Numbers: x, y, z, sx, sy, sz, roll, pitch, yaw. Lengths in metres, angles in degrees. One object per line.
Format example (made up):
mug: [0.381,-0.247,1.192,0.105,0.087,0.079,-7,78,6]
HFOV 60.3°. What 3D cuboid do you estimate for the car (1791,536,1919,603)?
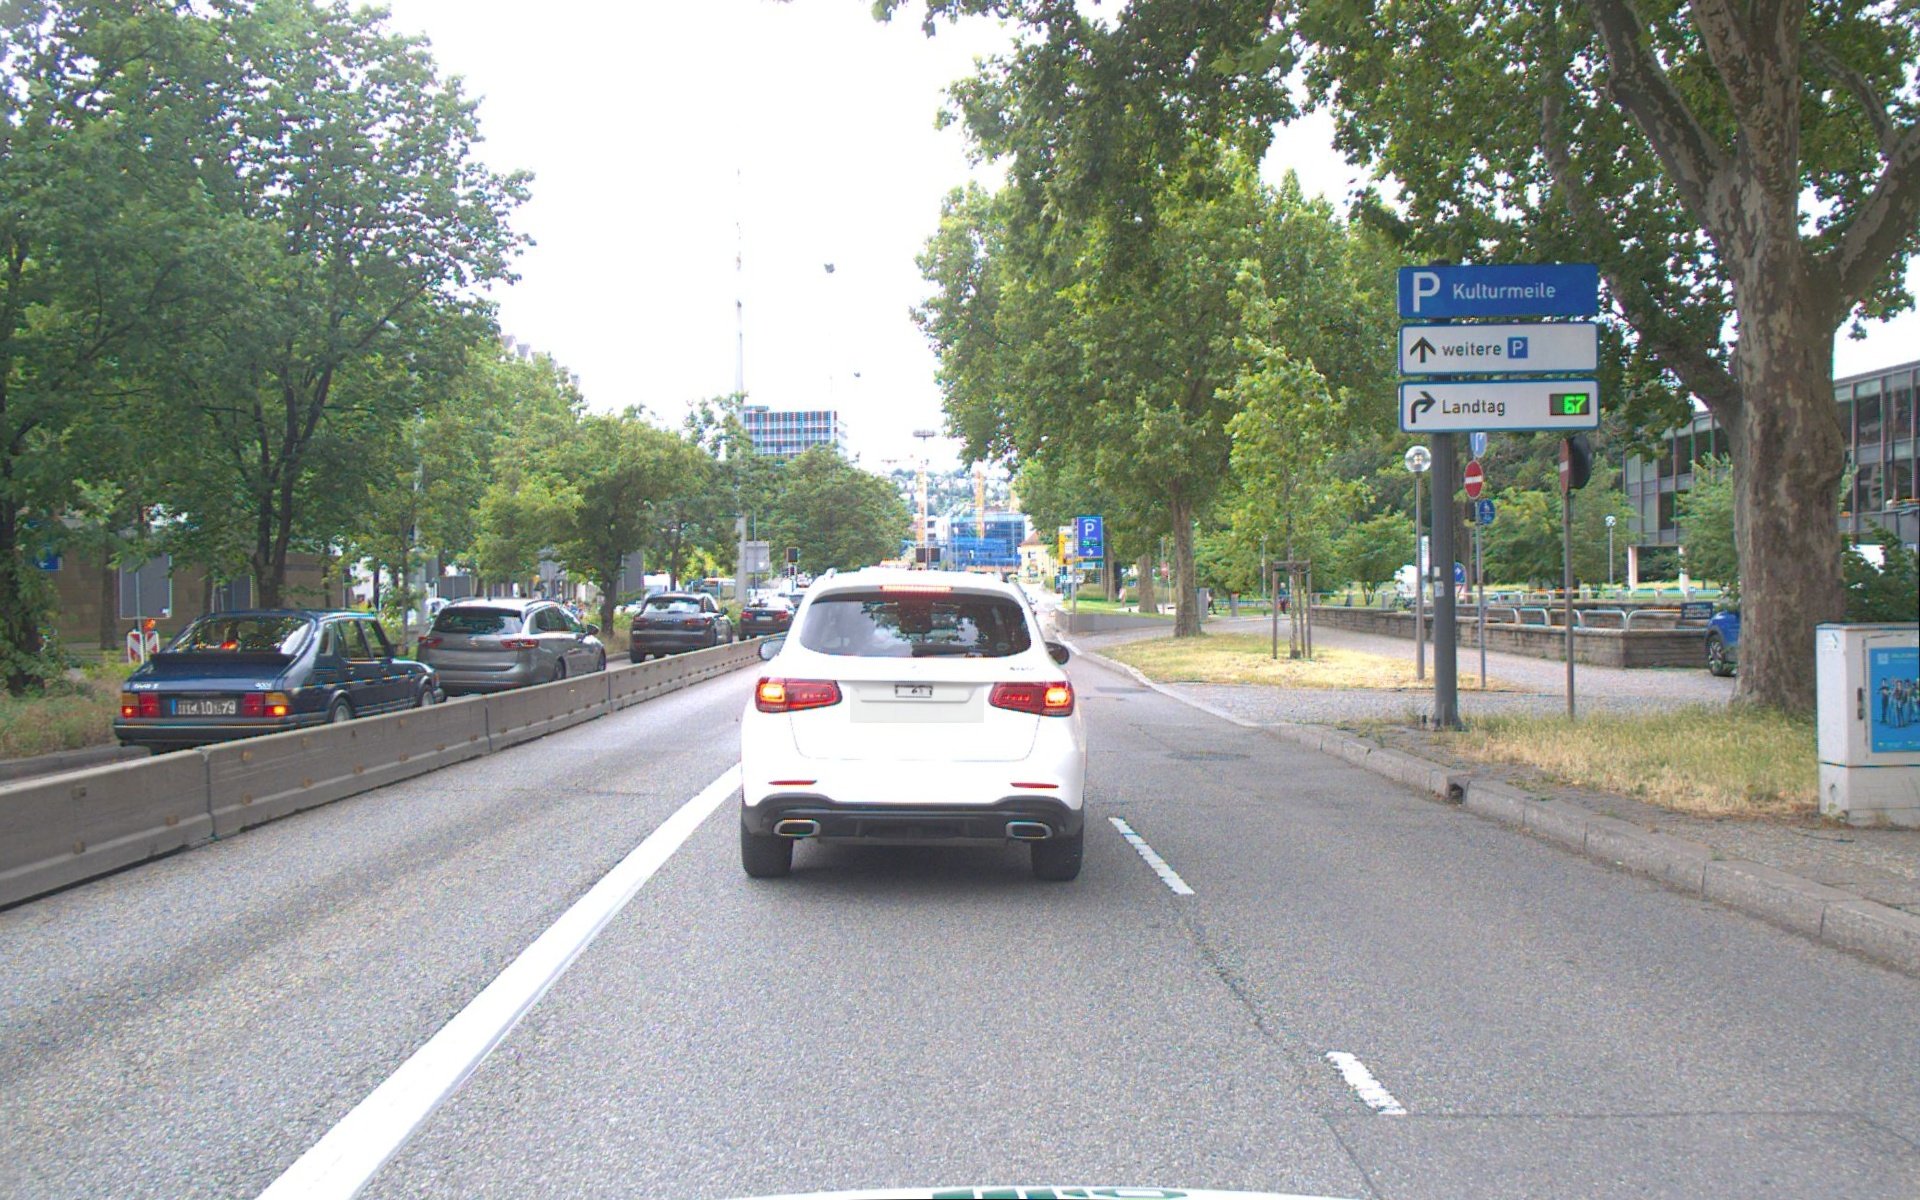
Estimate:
car: [32.982,-1.059,58.486,5.981,2.300,2.402,-1,0,1]

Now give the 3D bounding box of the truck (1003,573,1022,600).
truck: [8.309,-2.079,261.550,2.818,4.175,6.638,1,0,0]

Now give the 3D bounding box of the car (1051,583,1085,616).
car: [6.945,-0.033,106.865,1.952,2.049,4.000,0,0,1]

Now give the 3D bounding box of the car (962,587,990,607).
car: [1.110,-0.174,113.618,1.907,1.343,4.017,0,0,1]

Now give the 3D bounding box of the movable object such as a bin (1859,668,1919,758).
movable object such as a bin: [7.845,0.891,12.908,1.271,0.663,0.729,1,-1,8]

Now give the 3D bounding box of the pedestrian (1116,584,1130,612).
pedestrian: [12.021,-0.175,121.928,0.746,2.049,0.696,-1,0,36]

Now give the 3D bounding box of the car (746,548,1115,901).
car: [-0.341,0.573,10.158,1.753,1.653,4.432,-1,0,-6]

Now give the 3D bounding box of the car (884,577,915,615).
car: [-4.131,-0.278,113.498,1.953,2.518,4.000,-1,0,-1]

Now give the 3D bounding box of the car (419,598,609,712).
car: [-6.155,0.716,23.241,1.627,1.461,3.959,0,0,-1]

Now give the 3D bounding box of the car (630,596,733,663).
car: [-6.434,0.650,38.592,1.739,1.445,4.000,-1,0,0]

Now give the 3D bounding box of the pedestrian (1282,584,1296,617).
pedestrian: [16.388,0.025,82.463,0.625,1.639,0.663,-1,0,7]

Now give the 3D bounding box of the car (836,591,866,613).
car: [-6.962,0.144,105.549,1.625,1.343,3.547,0,0,1]

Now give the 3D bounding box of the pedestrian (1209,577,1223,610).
pedestrian: [13.841,-0.349,89.423,0.743,1.755,0.699,-1,0,8]

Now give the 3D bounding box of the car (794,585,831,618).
car: [-7.231,0.083,81.205,1.626,1.540,3.545,-1,0,-2]

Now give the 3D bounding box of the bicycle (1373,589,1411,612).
bicycle: [19.412,0.047,74.449,0.934,0.992,2.786,1,0,-1]

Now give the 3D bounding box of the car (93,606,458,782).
car: [-6.322,0.784,15.886,1.644,1.391,4.542,-1,0,-1]

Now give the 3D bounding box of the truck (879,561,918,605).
truck: [-4.476,-1.221,121.011,2.637,3.044,5.636,1,0,-1]

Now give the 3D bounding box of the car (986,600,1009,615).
car: [3.289,0.650,144.239,1.906,1.343,4.018,0,0,3]

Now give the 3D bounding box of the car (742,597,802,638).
car: [-6.295,0.573,55.659,1.625,1.343,3.547,0,0,0]

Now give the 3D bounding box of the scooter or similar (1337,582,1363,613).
scooter or similar: [16.047,-0.097,68.090,0.622,1.267,2.226,1,-1,2]

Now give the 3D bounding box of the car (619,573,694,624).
car: [-12.450,-0.064,68.184,2.072,2.004,5.578,-1,0,0]

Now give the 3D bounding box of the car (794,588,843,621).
car: [-5.954,0.203,69.911,1.624,1.343,3.548,0,0,3]

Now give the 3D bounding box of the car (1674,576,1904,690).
car: [13.210,0.461,26.637,1.724,1.579,4.028,-1,2,1]

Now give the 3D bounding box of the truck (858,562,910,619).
truck: [-4.034,-0.507,89.095,2.568,2.911,7.077,1,0,-1]

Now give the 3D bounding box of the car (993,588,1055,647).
car: [2.018,0.527,53.090,1.788,1.783,3.999,-1,0,-1]

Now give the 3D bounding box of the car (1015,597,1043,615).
car: [5.059,0.444,121.944,1.907,1.343,4.017,0,0,1]

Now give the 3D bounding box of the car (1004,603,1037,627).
car: [3.596,0.888,99.145,1.907,1.453,4.017,0,0,1]

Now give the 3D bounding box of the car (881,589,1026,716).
car: [-0.175,0.685,23.349,1.761,1.636,3.751,0,0,-5]

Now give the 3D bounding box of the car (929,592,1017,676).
car: [0.226,0.674,34.425,1.626,1.668,3.545,0,0,-3]
